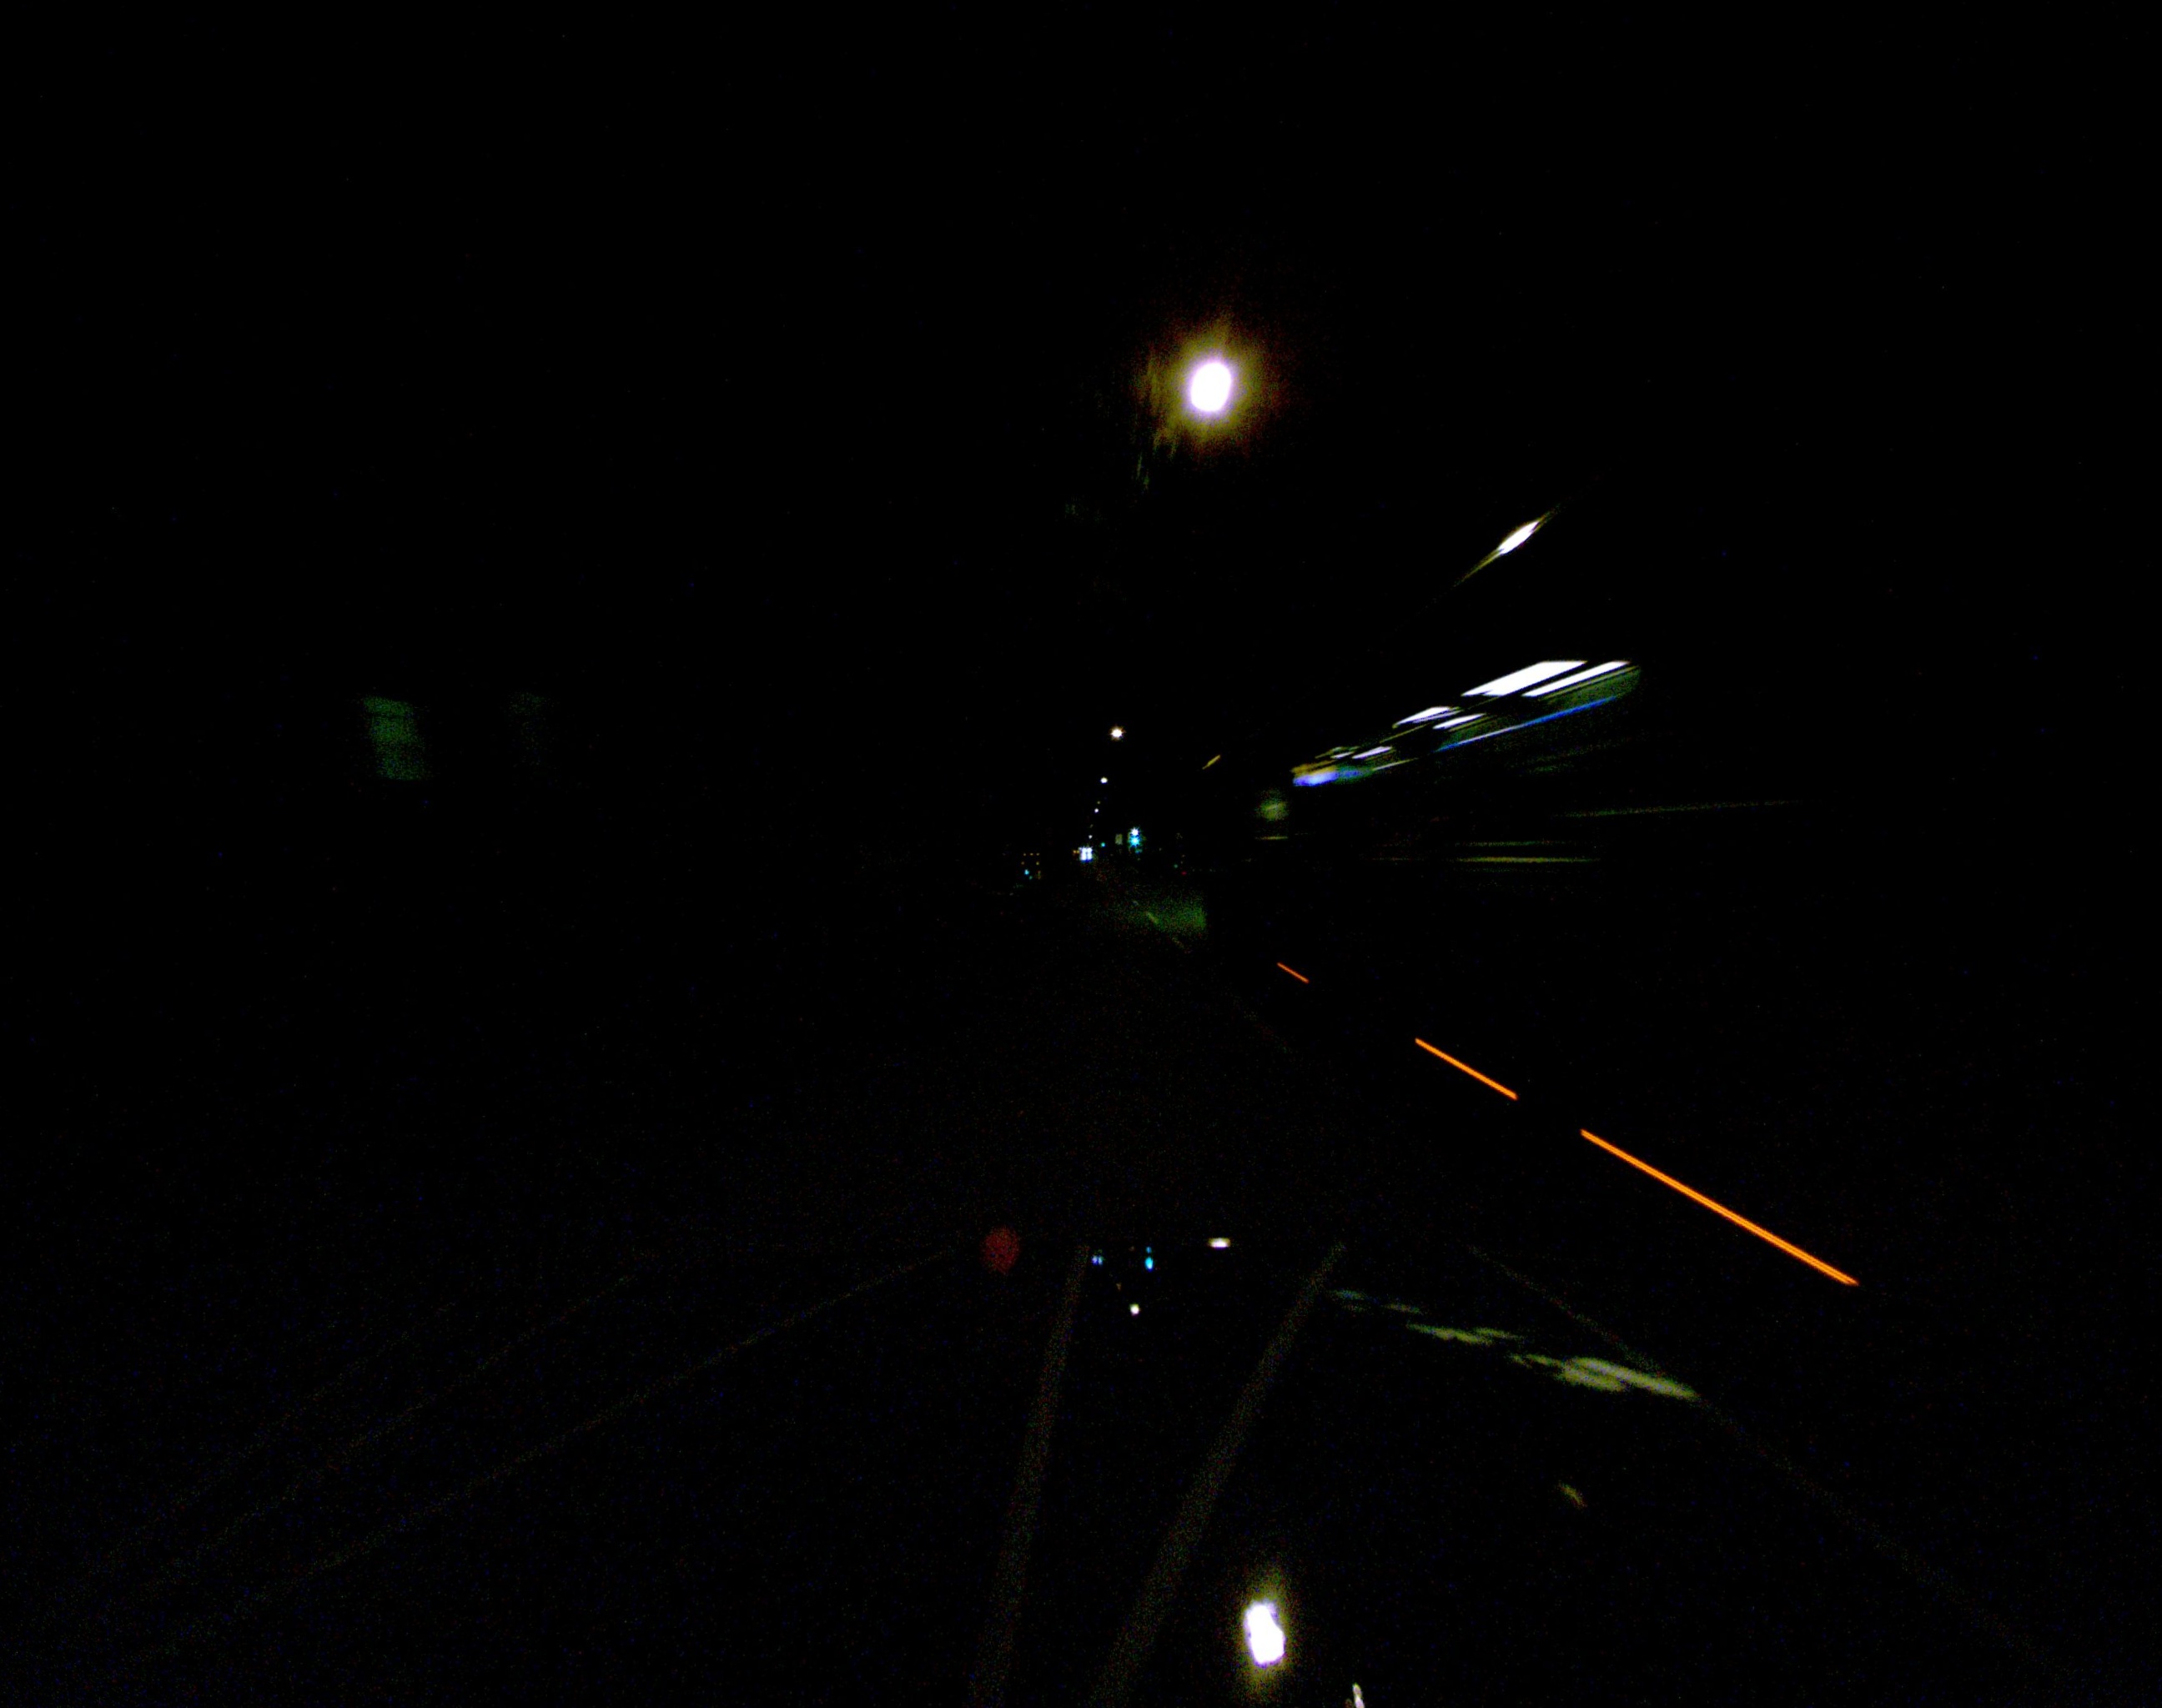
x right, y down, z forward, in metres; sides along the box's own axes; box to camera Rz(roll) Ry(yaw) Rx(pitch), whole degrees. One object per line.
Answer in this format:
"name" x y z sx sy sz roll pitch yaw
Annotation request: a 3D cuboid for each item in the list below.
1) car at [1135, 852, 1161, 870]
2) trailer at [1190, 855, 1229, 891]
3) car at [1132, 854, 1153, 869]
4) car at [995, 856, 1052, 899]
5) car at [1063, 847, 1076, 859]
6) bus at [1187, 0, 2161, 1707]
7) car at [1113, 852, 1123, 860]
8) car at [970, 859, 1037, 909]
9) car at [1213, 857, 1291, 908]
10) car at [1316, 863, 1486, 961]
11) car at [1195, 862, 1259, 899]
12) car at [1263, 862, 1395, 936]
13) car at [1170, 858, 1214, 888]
"car" 6.586 0.647 75.148 1.853 1.640 4.670 -2 0 -3
"trailer" 6.512 0.938 38.763 1.641 1.630 3.440 -1 1 5
"car" 6.533 0.783 81.026 1.652 1.506 3.700 -2 1 -3
"car" -2.207 0.861 30.107 1.850 1.409 4.644 2 1 0
"car" -1.787 -0.236 117.500 1.916 1.816 4.899 -1 1 -2
"bus" 3.032 0.145 6.402 2.844 3.159 10.498 -2 0 1
"car" 7.344 0.469 152.638 1.731 1.477 4.290 -2 1 0
"car" -2.423 0.902 24.609 1.775 1.439 4.019 0 1 0
"car" 6.050 0.941 27.437 1.839 1.609 4.544 -2 0 1
"car" 5.931 0.994 14.561 1.625 1.483 3.780 -2 1 0
"car" 6.180 1.083 32.688 1.840 1.438 4.544 0 0 -1
"car" 6.029 1.028 19.036 1.868 1.483 4.279 -2 1 0
"car" 6.230 1.037 43.033 1.819 1.476 4.347 -1 1 -1
